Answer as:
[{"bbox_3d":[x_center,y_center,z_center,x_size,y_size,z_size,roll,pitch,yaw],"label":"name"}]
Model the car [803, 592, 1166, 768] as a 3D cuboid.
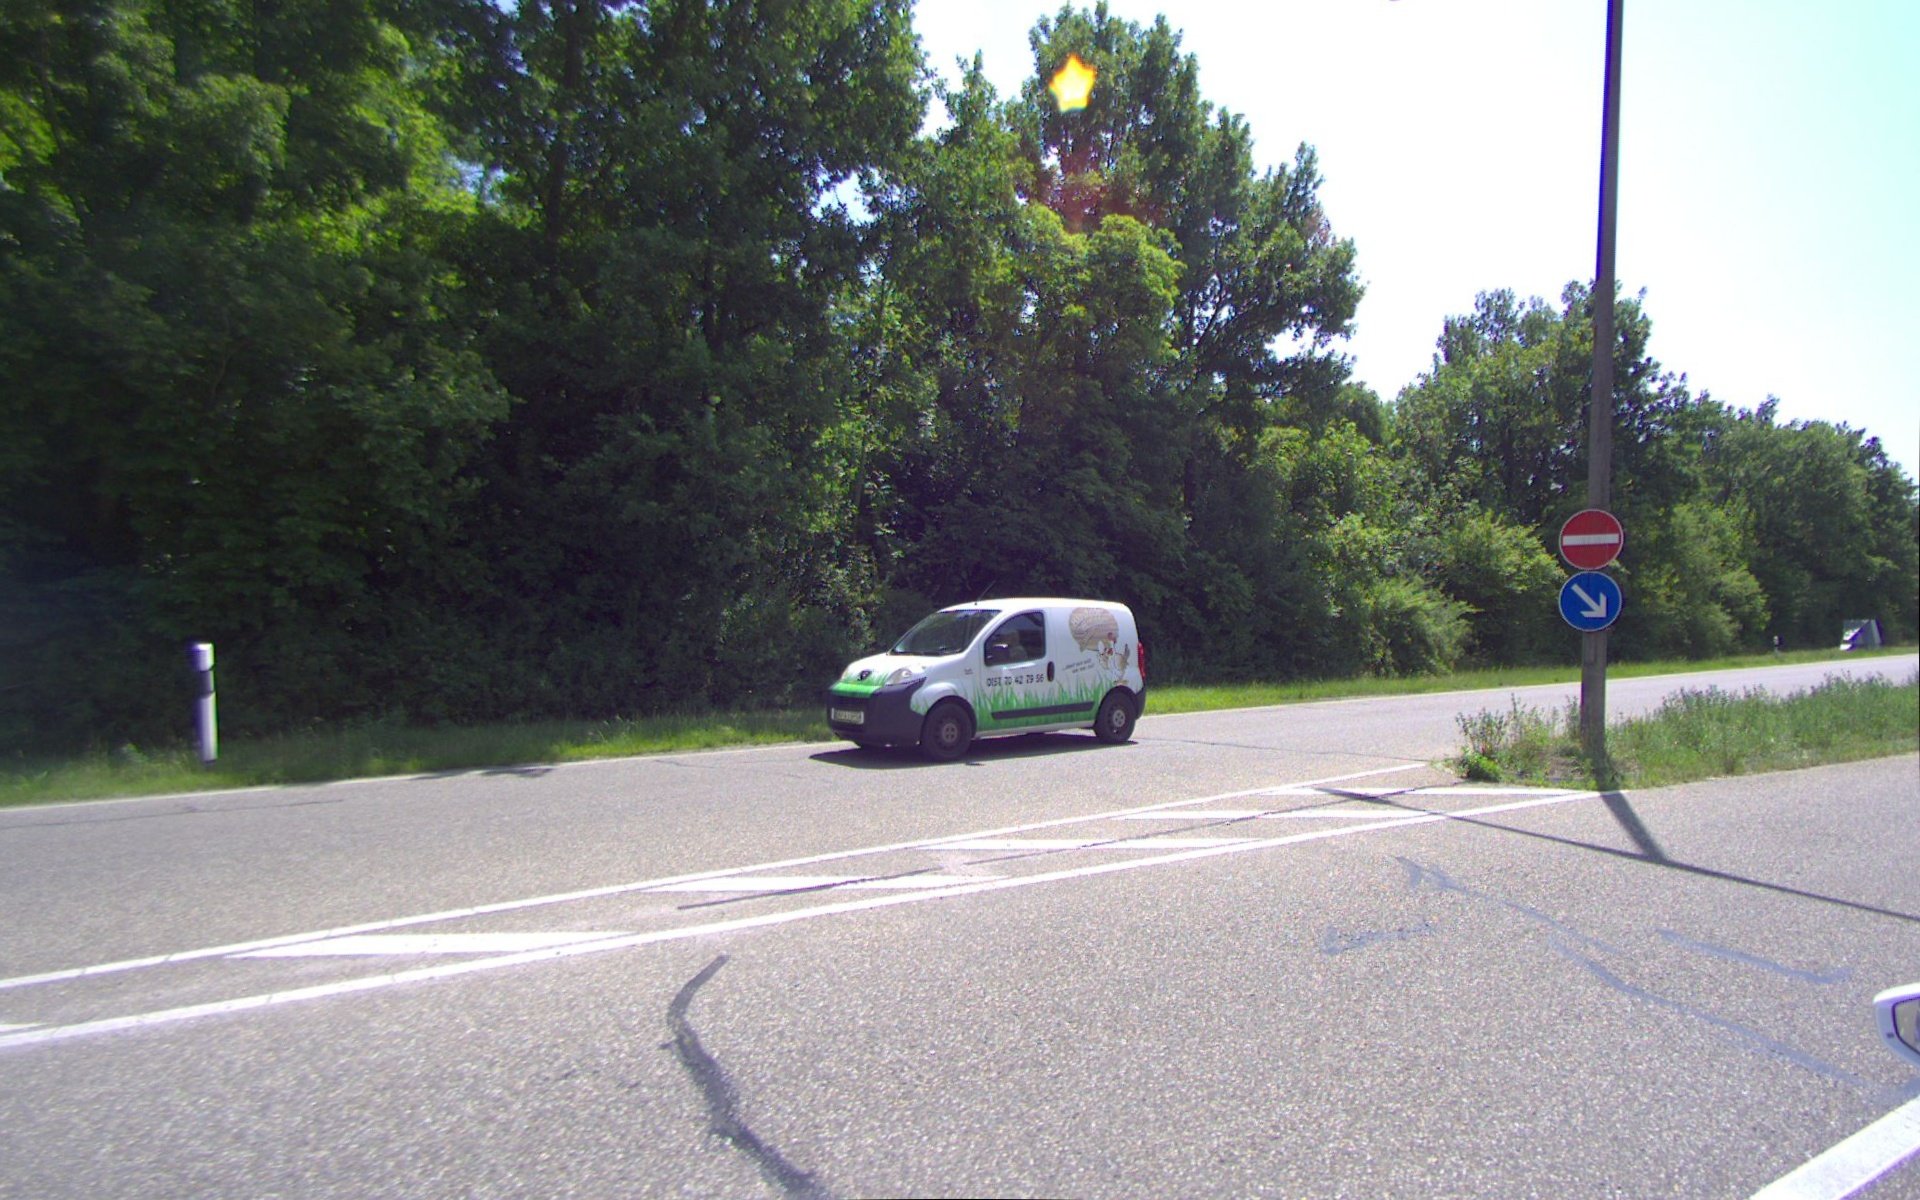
[{"bbox_3d":[0.375,0.838,11.694,4.057,1.710,1.719,1,-2,-37],"label":"car"}]
